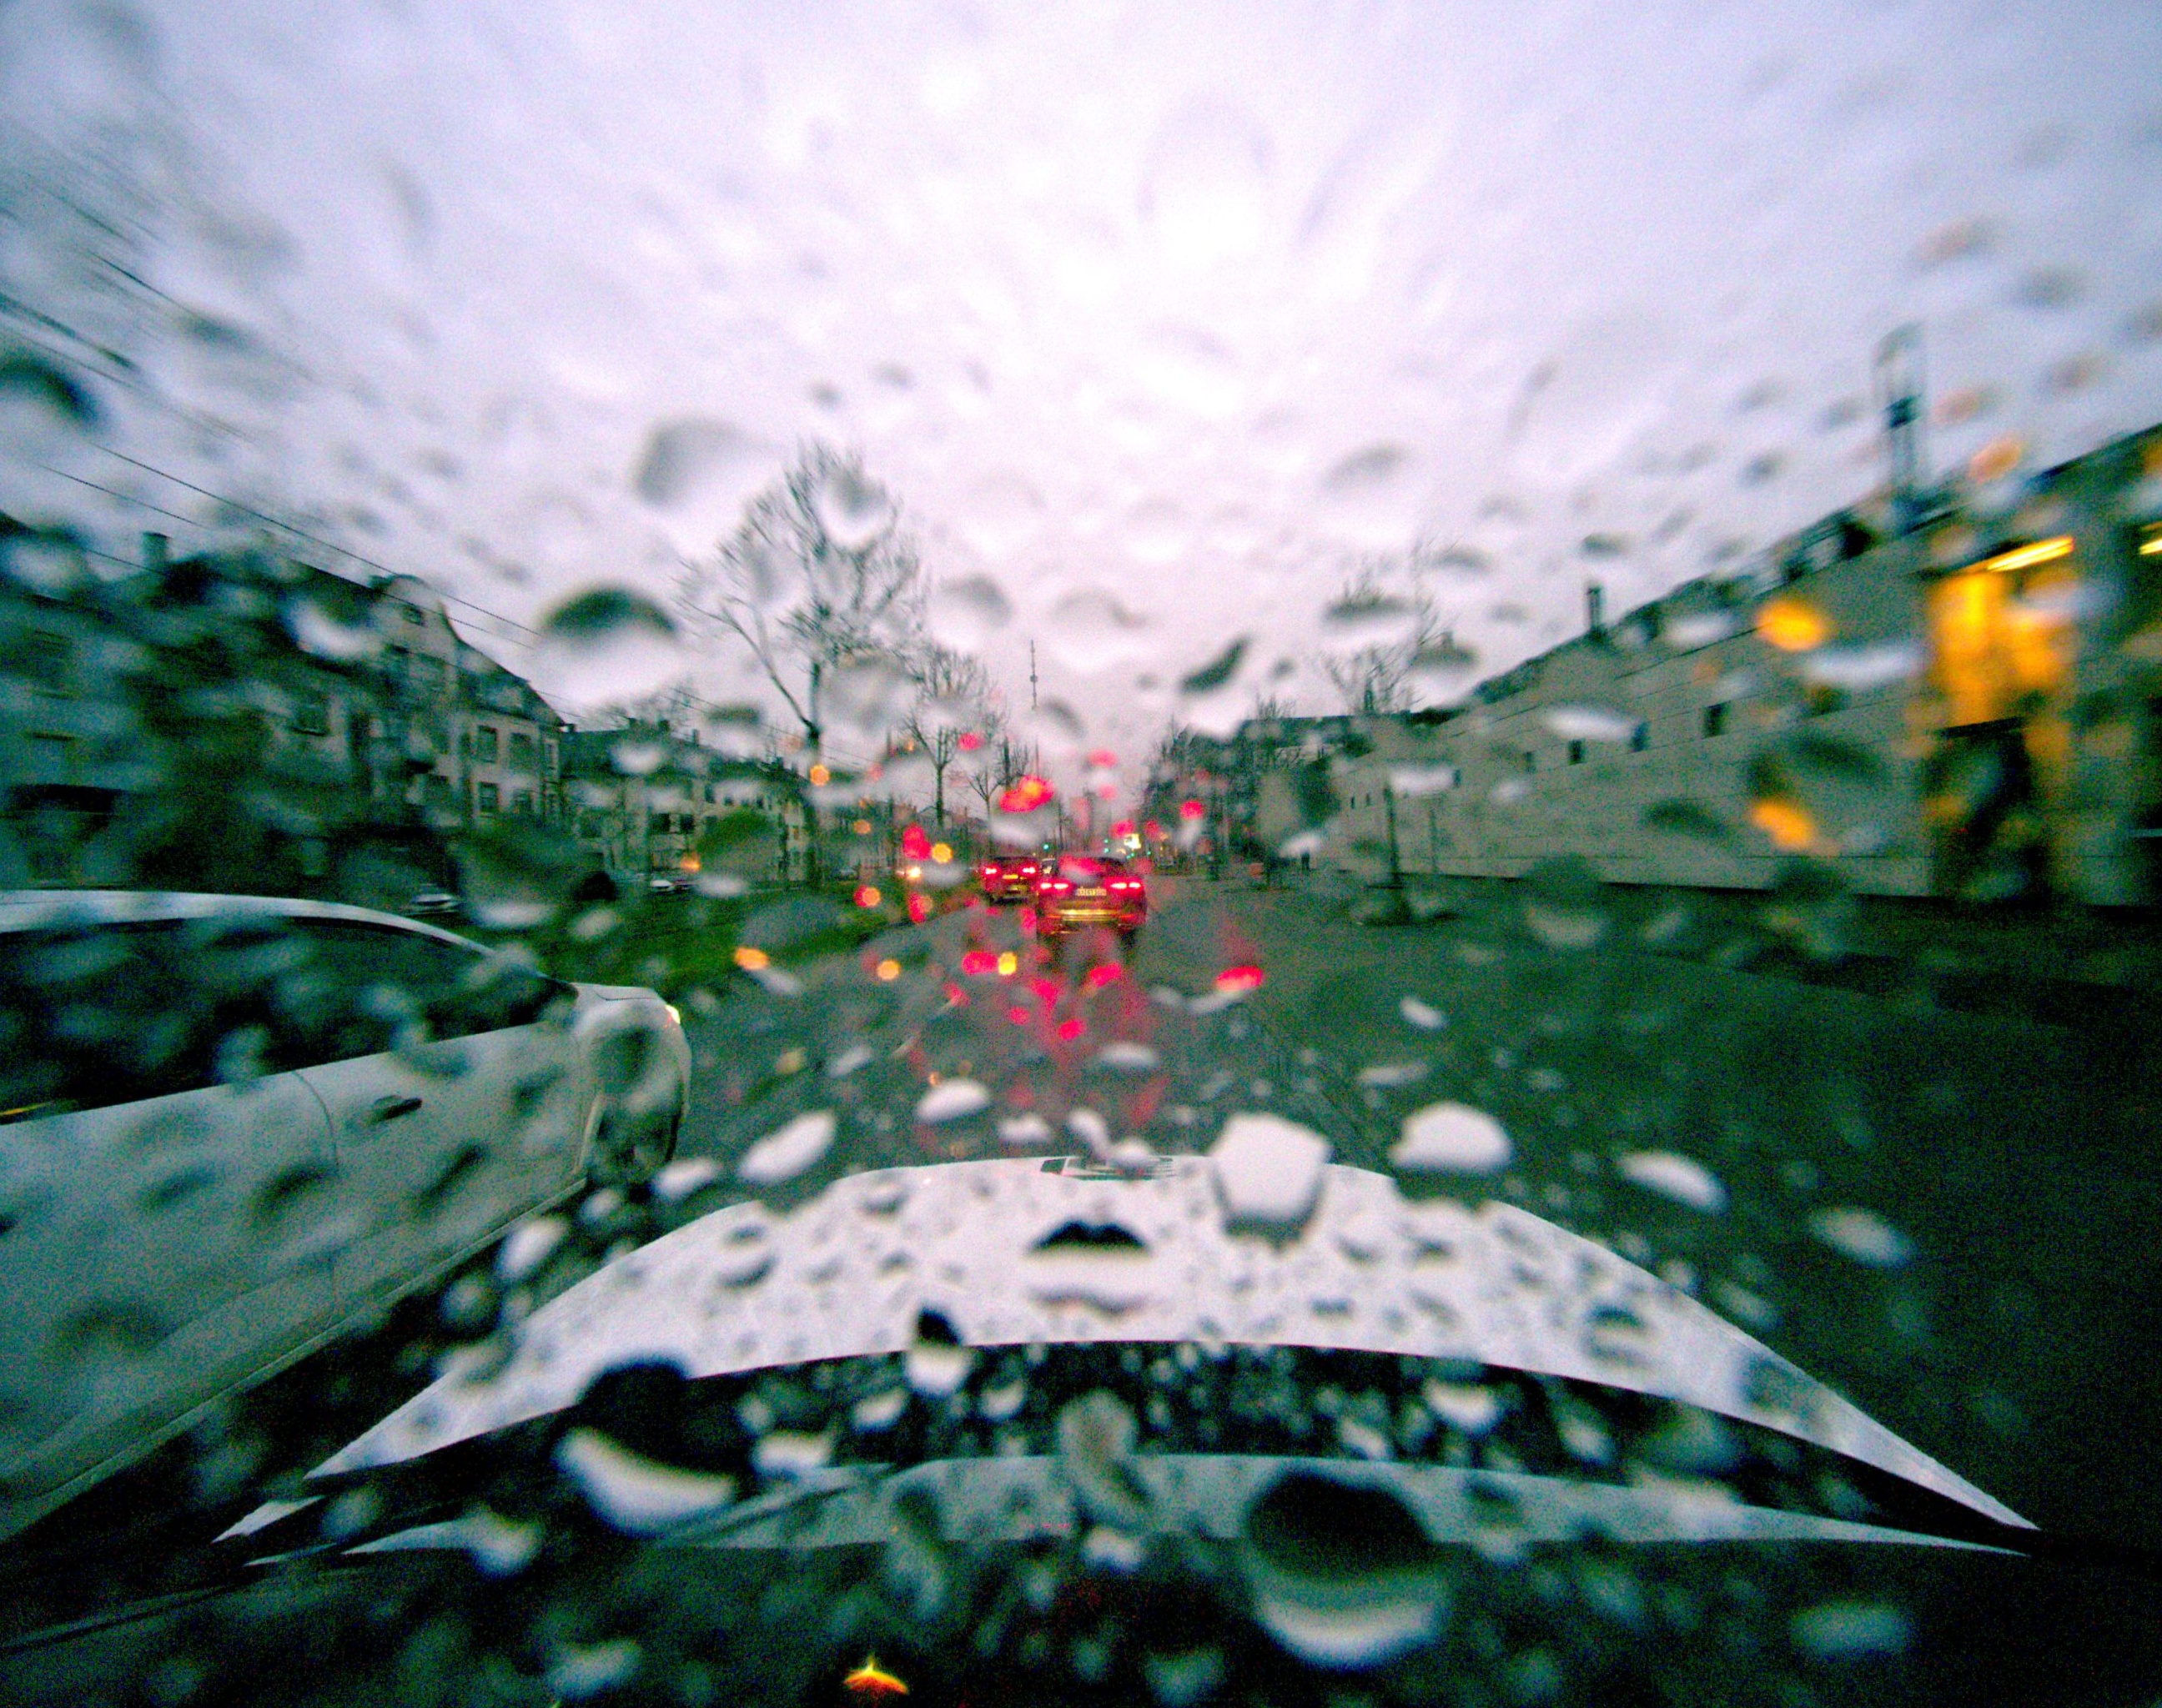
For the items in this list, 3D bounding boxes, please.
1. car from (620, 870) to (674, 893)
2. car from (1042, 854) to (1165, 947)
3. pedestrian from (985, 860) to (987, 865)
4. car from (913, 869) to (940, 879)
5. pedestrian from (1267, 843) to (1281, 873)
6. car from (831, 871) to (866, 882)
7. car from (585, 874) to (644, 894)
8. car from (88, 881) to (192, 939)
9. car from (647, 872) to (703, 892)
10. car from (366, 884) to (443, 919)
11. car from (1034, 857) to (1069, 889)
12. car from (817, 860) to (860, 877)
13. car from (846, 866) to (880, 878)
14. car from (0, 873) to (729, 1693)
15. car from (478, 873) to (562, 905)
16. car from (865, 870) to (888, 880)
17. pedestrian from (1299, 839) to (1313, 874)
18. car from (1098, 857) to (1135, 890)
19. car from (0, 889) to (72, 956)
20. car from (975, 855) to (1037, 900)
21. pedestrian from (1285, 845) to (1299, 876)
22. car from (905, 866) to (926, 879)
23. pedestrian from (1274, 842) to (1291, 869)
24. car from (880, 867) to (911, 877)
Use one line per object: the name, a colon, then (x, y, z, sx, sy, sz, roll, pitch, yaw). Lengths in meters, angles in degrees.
car: (-26.278, 1.646, 49.282, 3.993, 1.230, 1.357, 1, -1, 38)
car: (0.414, 0.774, 15.041, 1.986, 1.483, 3.701, -1, -1, 1)
pedestrian: (-23.164, 2.126, 197.747, 0.348, 1.184, 0.429, 0, -1, -39)
car: (-23.375, 2.993, 123.232, 4.109, 1.541, 1.680, -1, -1, 38)
pedestrian: (10.458, 0.223, 44.117, 0.667, 1.625, 0.617, -1, -1, 17)
car: (-25.205, 2.399, 88.314, 3.525, 1.141, 1.748, 0, 0, 34)
car: (-26.076, 1.681, 45.503, 2.881, 0.989, 1.806, 1, -1, 36)
car: (-27.151, 1.545, 23.449, 4.603, 1.432, 1.705, -1, -1, 38)
car: (-26.404, 1.793, 52.908, 4.053, 1.161, 1.722, 1, -1, 40)
car: (-27.847, 1.906, 33.463, 4.212, 1.258, 1.844, -1, -1, 42)
car: (-1.549, 0.995, 44.189, 1.683, 1.635, 3.474, -1, -1, 1)
car: (-25.387, 1.527, 85.152, 4.598, 1.723, 1.845, 0, -1, 35)
car: (-24.496, 2.023, 91.527, 3.534, 1.309, 1.697, 0, -1, 34)
car: (-2.818, 0.828, 2.456, 1.682, 1.474, 4.002, -1, -1, 1)
car: (-26.699, 1.645, 38.772, 3.321, 1.418, 1.888, -1, -2, 27)
car: (-24.439, 2.518, 97.520, 2.361, 1.048, 1.446, 0, 0, 34)
pedestrian: (11.782, 0.131, 42.604, 0.667, 1.778, 0.617, -1, -1, 15)
car: (1.822, 1.013, 42.730, 1.848, 1.635, 3.474, -1, -1, 1)
car: (-27.007, 1.693, 20.500, 3.901, 1.448, 1.831, 0, 0, 42)
car: (-2.569, 0.795, 28.720, 1.812, 1.450, 3.999, 0, -1, 0)
pedestrian: (11.116, 0.320, 42.830, 0.667, 1.612, 0.617, -1, -1, 15)
car: (-19.247, 2.161, 94.757, 1.539, 1.504, 3.786, -1, -1, 2)
pedestrian: (12.669, 0.079, 51.232, 0.665, 1.655, 0.993, -3, -1, -4)
car: (-23.719, 2.280, 104.135, 3.794, 1.245, 1.748, 0, -1, 37)
